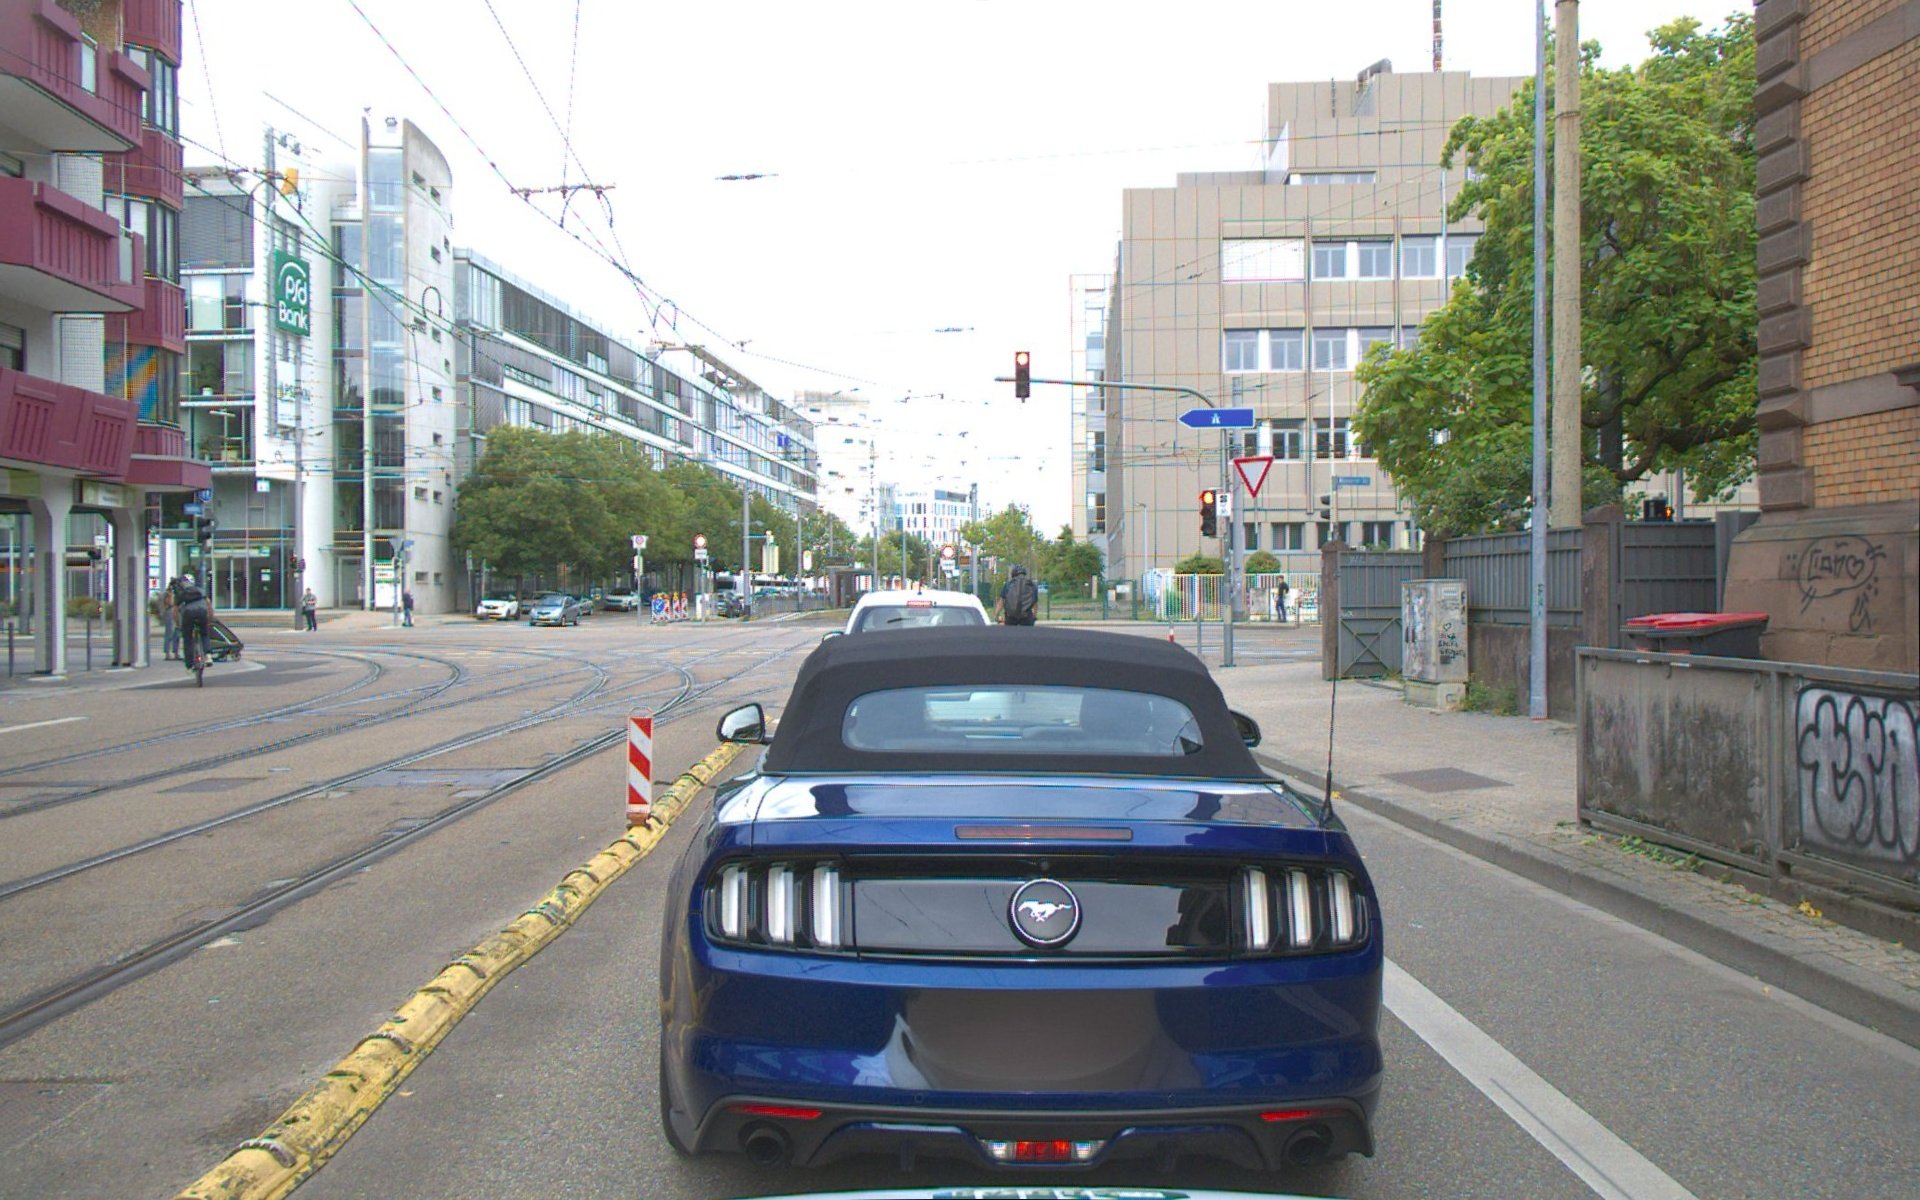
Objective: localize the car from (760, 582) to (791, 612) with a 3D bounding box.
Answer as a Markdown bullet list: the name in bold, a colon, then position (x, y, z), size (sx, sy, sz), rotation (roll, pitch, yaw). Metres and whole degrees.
- **car**: position (-12.907, -0.216, 115.756), size (1.749, 2.022, 4.120), rotation (-1, 0, -1)

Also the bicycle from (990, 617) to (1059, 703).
- **bicycle**: position (0.884, 0.818, 23.293), size (0.784, 1.105, 2.130), rotation (-1, 0, -3)

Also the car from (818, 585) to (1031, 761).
- **car**: position (-0.476, 0.600, 16.165), size (1.799, 1.464, 4.183), rotation (-1, 0, -5)

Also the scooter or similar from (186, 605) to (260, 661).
- **scooter or similar**: position (-15.569, 0.699, 34.958), size (1.172, 1.148, 0.946), rotation (0, 0, -3)

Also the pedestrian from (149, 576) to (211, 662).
- **pedestrian**: position (-16.437, 0.396, 34.872), size (0.929, 1.774, 0.811), rotation (0, 0, -4)

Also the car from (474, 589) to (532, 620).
- **car**: position (-24.970, 0.226, 90.559), size (1.791, 1.584, 4.218), rotation (1, 1, 3)

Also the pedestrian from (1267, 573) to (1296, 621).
- **pedestrian**: position (13.219, -0.122, 68.101), size (1.063, 1.931, 0.902), rotation (-1, 0, 4)

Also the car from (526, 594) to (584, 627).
- **car**: position (-20.201, 0.502, 82.685), size (1.633, 1.533, 4.236), rotation (1, 1, 3)

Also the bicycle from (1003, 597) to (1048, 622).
- **bicycle**: position (2.883, 0.424, 72.760), size (0.629, 0.998, 2.125), rotation (-1, -2, -42)

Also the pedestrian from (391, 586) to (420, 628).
- **pedestrian**: position (-25.807, 0.319, 76.931), size (0.968, 1.888, 0.902), rotation (-1, 0, 6)

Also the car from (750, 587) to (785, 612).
- **car**: position (-12.849, -0.046, 110.629), size (1.830, 1.634, 4.212), rotation (-1, 0, -1)

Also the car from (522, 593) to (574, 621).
- **car**: position (-24.319, 0.390, 97.779), size (1.791, 1.584, 4.218), rotation (1, 1, 3)

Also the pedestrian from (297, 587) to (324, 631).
- **pedestrian**: position (-28.154, 0.385, 71.707), size (0.816, 1.897, 0.766), rotation (-1, 0, 11)

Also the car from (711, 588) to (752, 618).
- **car**: position (-13.397, 0.164, 97.046), size (1.841, 1.657, 4.086), rotation (-1, 0, -1)

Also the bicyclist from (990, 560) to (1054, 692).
- **bicyclist**: position (0.870, 0.356, 23.464), size (0.780, 1.816, 1.232), rotation (-1, 0, -3)

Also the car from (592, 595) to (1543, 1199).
- **car**: position (0.194, 0.724, 5.363), size (1.838, 1.428, 4.282), rotation (1, 0, -1)

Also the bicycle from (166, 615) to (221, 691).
- **bicycle**: position (-12.204, 0.814, 26.300), size (0.753, 1.105, 2.341), rotation (-1, 0, -26)

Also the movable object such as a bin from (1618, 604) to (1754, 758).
- **movable object such as a bin**: position (5.541, 0.604, 12.647), size (0.638, 1.101, 0.677), rotation (-4, 0, -6)

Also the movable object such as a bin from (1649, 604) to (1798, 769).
- **movable object such as a bin**: position (5.493, 0.604, 11.930), size (0.650, 1.101, 0.700), rotation (-4, 0, -6)

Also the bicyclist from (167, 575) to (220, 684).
- **bicyclist**: position (-12.236, 0.456, 26.399), size (0.740, 1.680, 1.047), rotation (-1, 0, -26)

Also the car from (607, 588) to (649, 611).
- **car**: position (-23.228, -0.052, 115.992), size (1.945, 1.584, 4.513), rotation (1, 1, 0)
